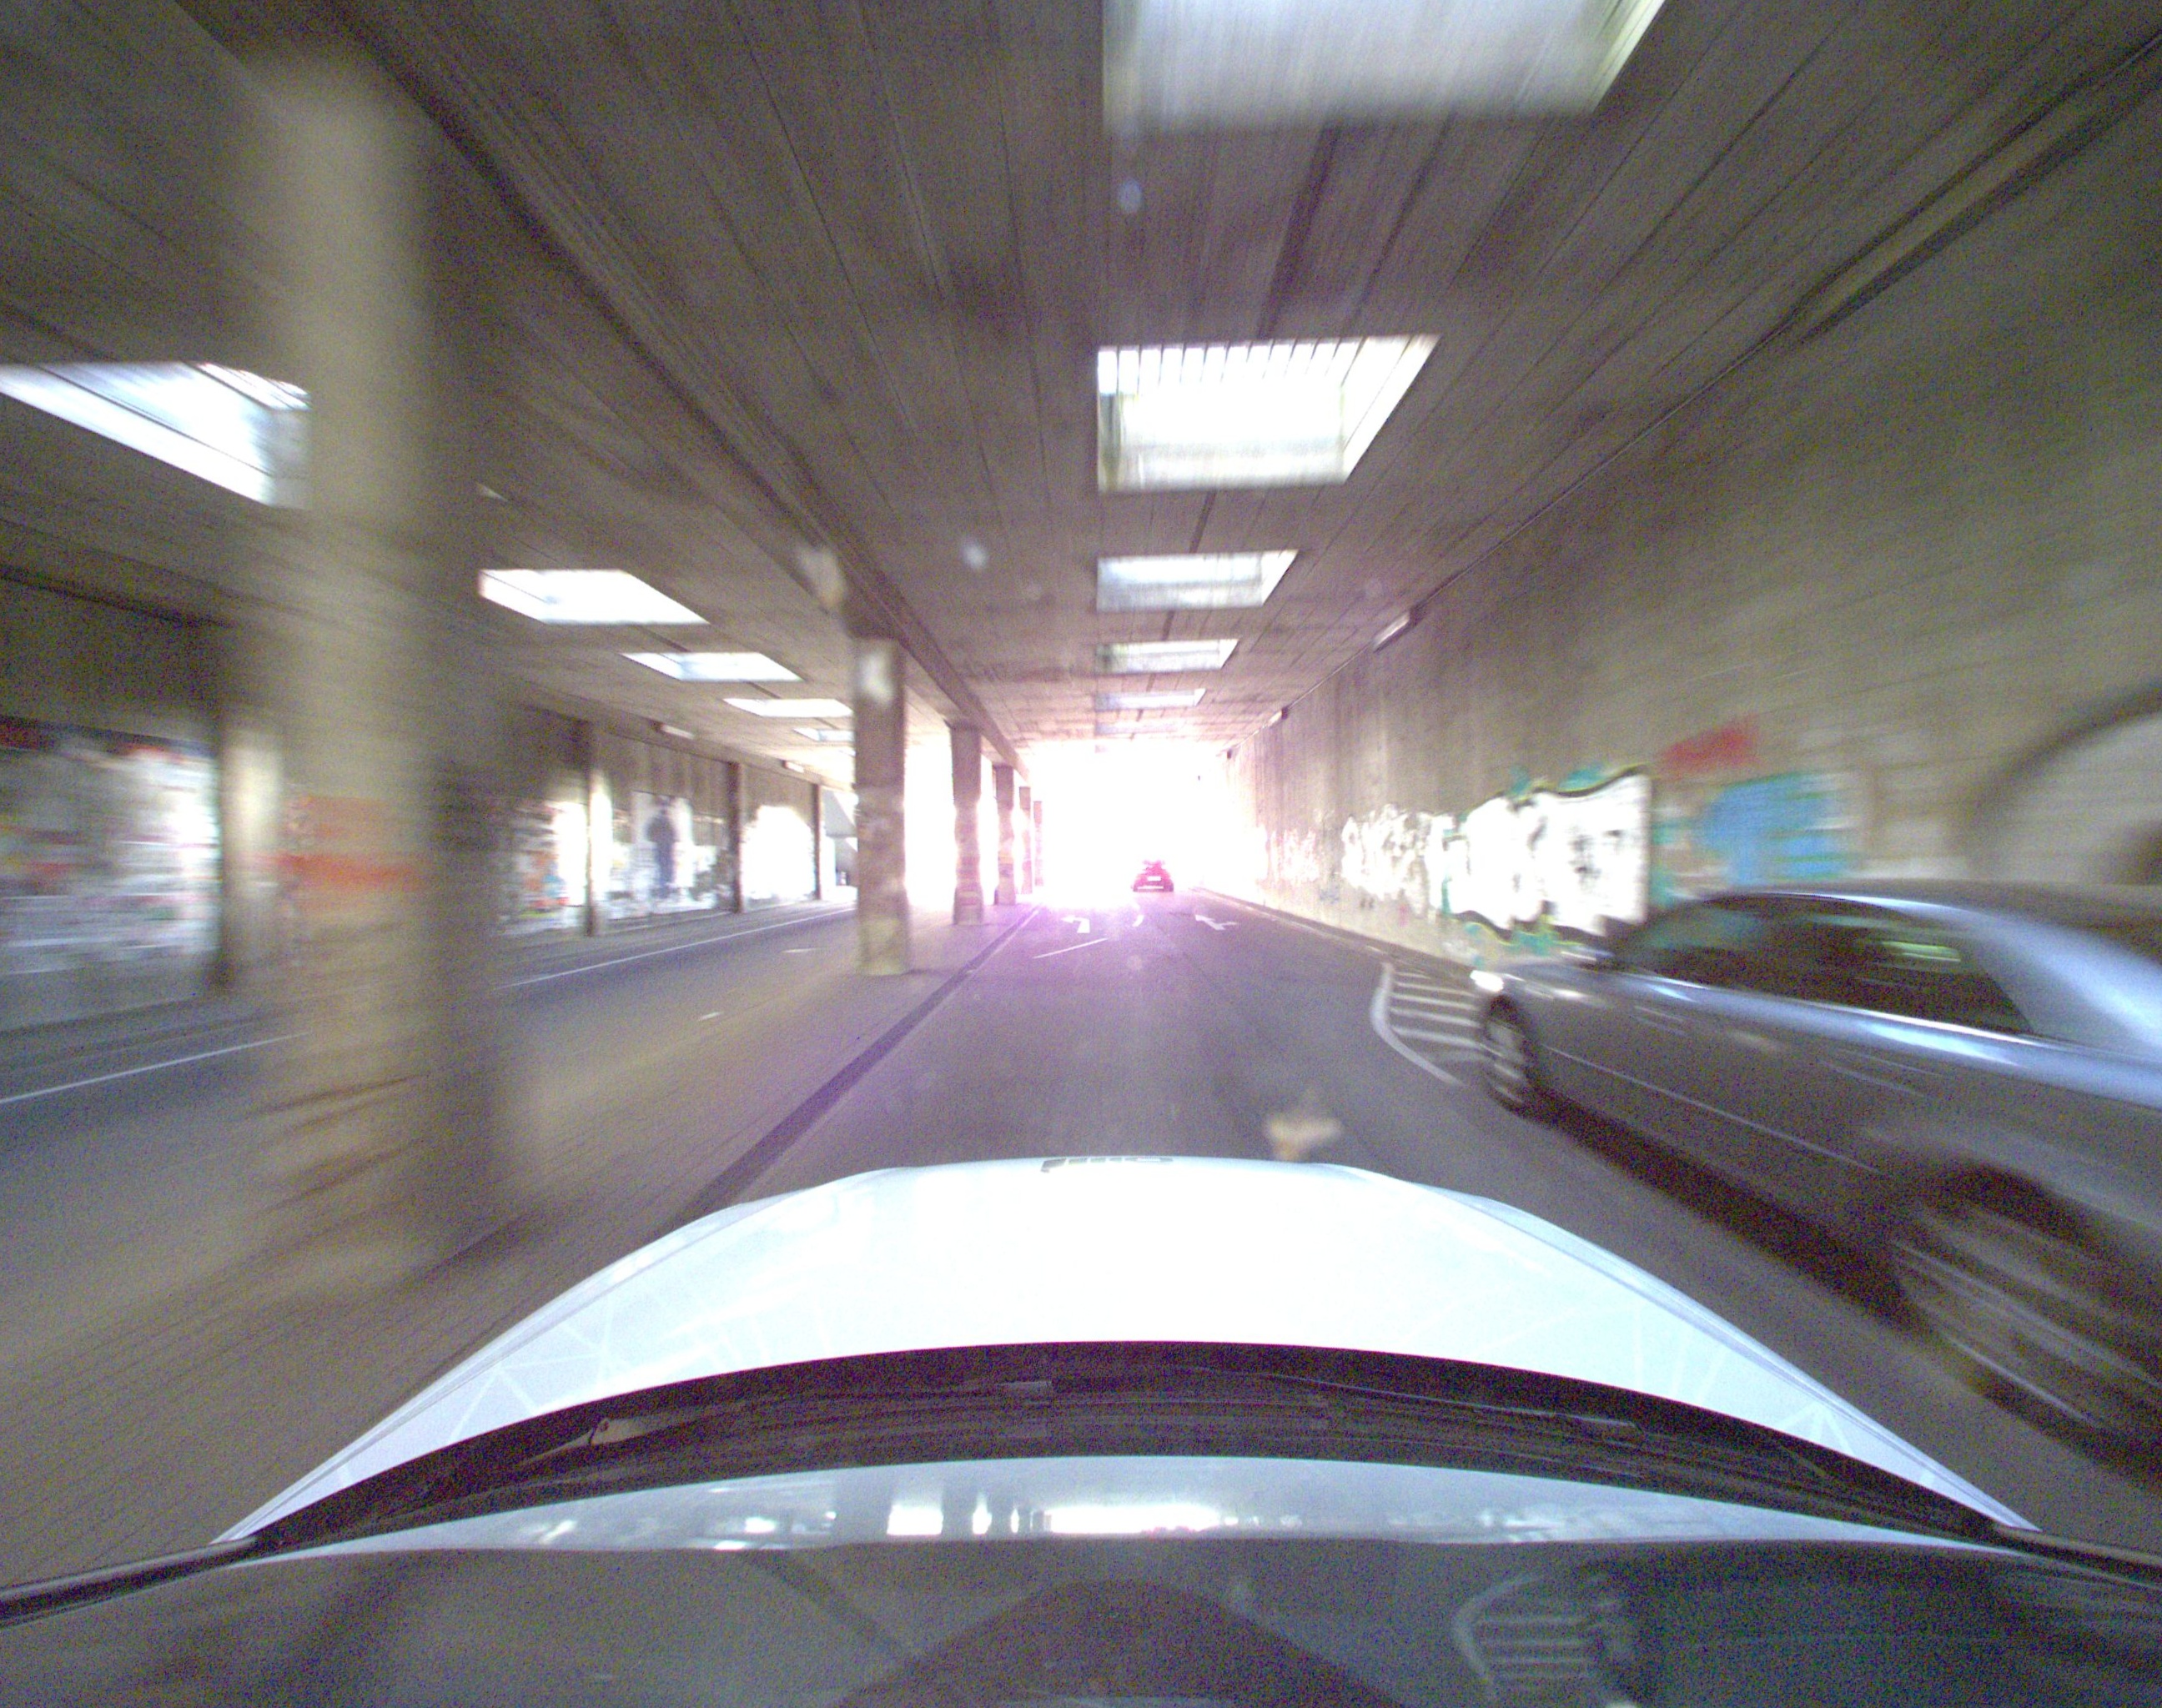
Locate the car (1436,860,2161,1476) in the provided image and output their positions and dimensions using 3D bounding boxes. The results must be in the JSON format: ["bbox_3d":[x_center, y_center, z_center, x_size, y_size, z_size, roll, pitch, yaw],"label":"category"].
[{"bbox_3d":[3.319,0.734,3.471,1.695,1.374,4.373,-1,0,0],"label":"car"}]

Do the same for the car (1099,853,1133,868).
[{"bbox_3d":[4.451,0.861,102.925,4.128,1.739,2.004,-2,0,7],"label":"car"}]

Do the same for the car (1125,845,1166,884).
[{"bbox_3d":[3.290,0.514,42.293,1.809,1.882,4.586,-2,0,1],"label":"car"}]

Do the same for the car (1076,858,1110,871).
[{"bbox_3d":[1.458,1.263,99.052,3.968,1.574,1.642,-1,-1,4],"label":"car"}]

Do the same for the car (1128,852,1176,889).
[{"bbox_3d":[3.093,0.696,36.103,1.819,1.501,4.212,-1,0,1],"label":"car"}]
